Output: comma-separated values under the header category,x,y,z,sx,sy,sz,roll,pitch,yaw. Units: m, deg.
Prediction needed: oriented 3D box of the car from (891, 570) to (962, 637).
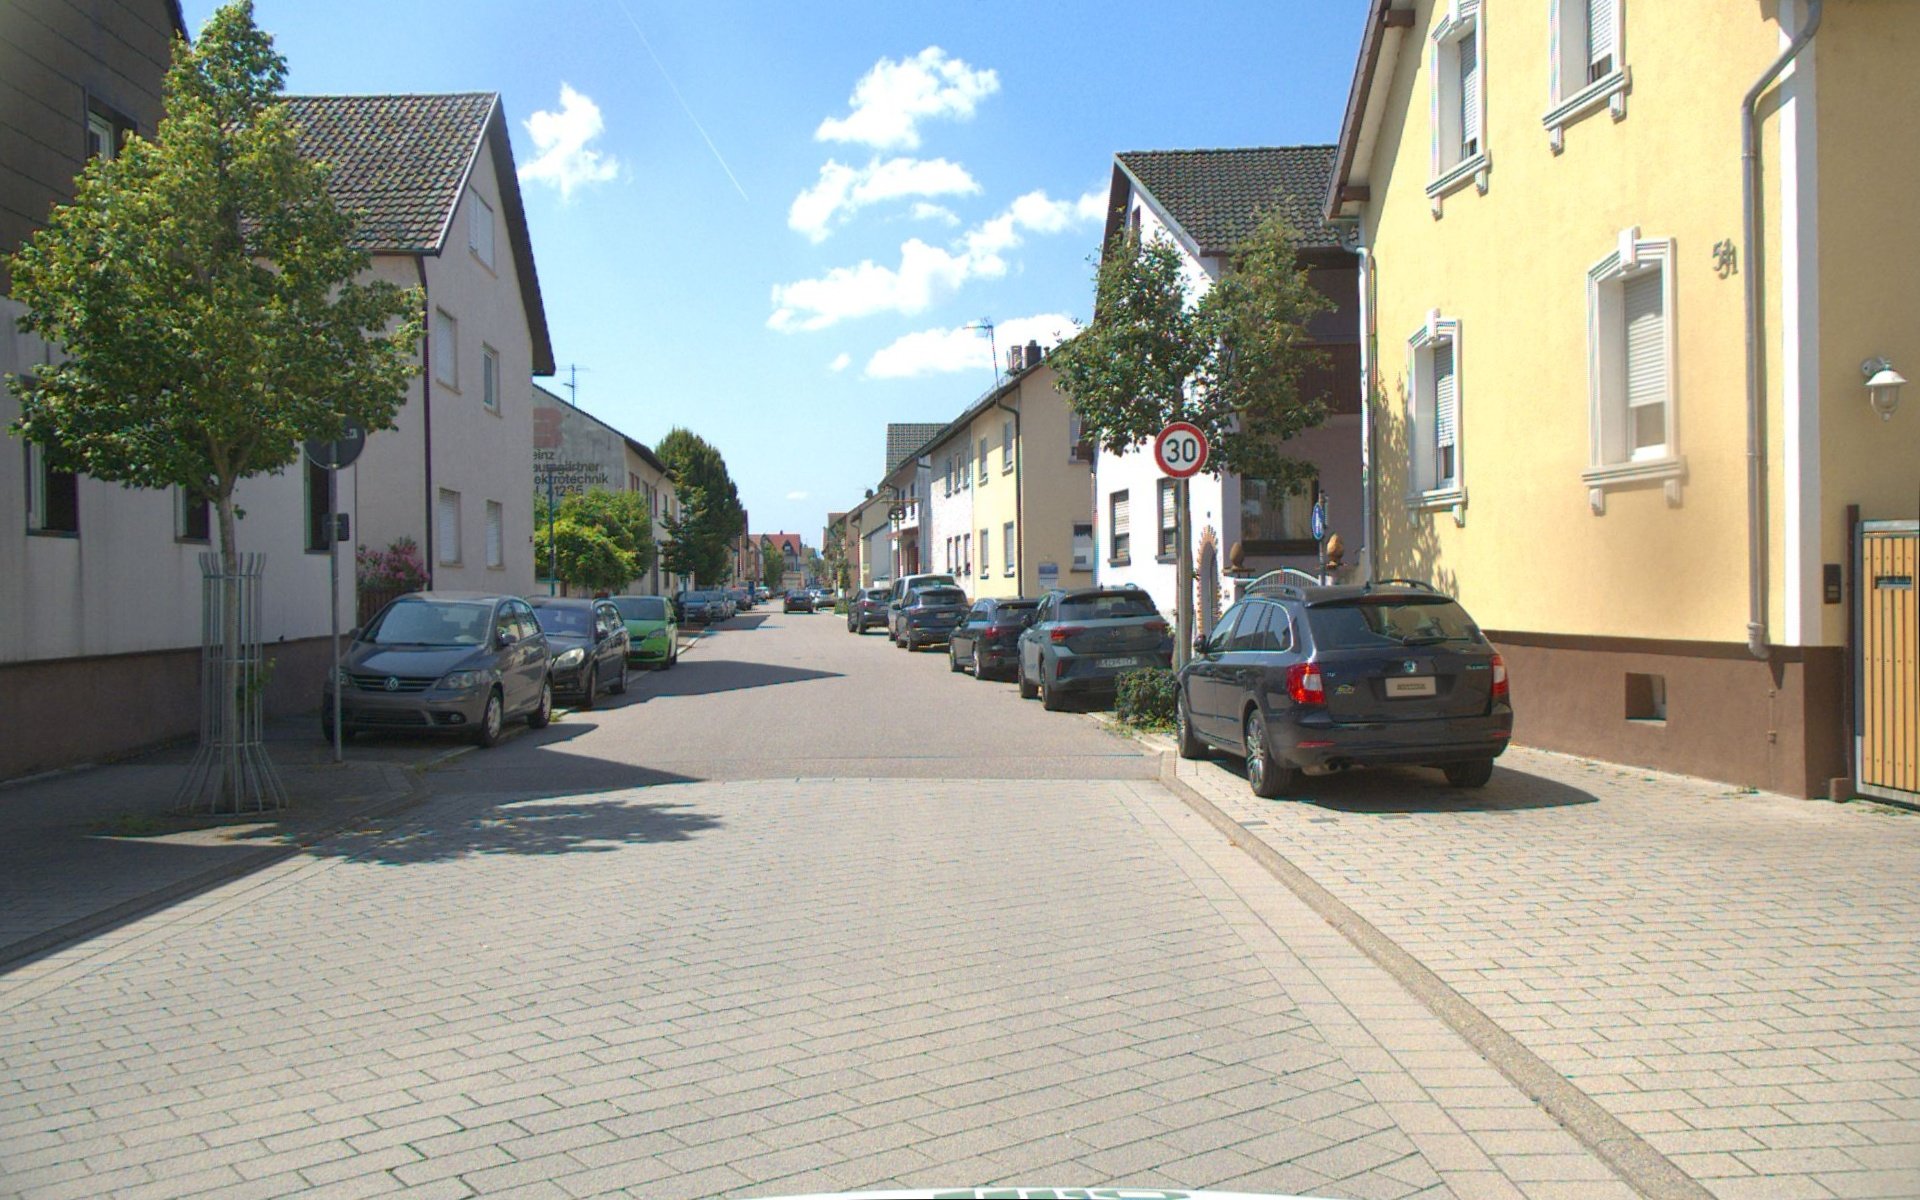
category,x,y,z,sx,sy,sz,roll,pitch,yaw
car,-1.053,0.083,49.560,1.869,1.904,3.997,-1,1,-4

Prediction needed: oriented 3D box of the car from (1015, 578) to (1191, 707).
category,x,y,z,sx,sy,sz,roll,pitch,yaw
car,1.863,0.515,22.666,1.810,1.590,3.690,-1,1,-4

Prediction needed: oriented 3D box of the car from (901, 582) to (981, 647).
category,x,y,z,sx,sy,sz,roll,pitch,yaw
car,-0.559,0.342,43.986,1.840,1.619,3.997,-1,1,-4

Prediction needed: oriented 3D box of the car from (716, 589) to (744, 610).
category,x,y,z,sx,sy,sz,roll,pitch,yaw
car,-17.411,-0.039,125.422,1.879,1.467,3.996,-1,1,-5

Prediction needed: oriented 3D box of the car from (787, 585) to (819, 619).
category,x,y,z,sx,sy,sz,roll,pitch,yaw
car,-10.020,0.127,105.868,1.955,2.093,4.369,-1,1,-5

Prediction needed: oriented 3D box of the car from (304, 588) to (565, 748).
category,x,y,z,sx,sy,sz,roll,pitch,yaw
car,-5.680,0.662,18.388,1.712,1.556,3.999,0,1,-2

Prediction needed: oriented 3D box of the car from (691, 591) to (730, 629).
category,x,y,z,sx,sy,sz,roll,pitch,yaw
car,-12.449,0.477,82.746,1.650,1.789,3.612,-1,1,-5

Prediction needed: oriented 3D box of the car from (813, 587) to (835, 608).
category,x,y,z,sx,sy,sz,roll,pitch,yaw
car,-10.240,-0.211,124.748,1.655,1.478,3.789,-1,1,-4

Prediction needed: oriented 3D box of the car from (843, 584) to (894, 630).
category,x,y,z,sx,sy,sz,roll,pitch,yaw
car,-3.268,0.224,58.592,1.720,1.519,3.997,-1,1,-4

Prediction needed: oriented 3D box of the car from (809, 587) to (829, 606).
category,x,y,z,sx,sy,sz,roll,pitch,yaw
car,-11.764,-0.310,138.171,1.655,1.478,3.789,-1,1,-4

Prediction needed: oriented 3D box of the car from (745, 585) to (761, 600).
category,x,y,z,sx,sy,sz,roll,pitch,yaw
car,-25.272,-0.890,202.253,1.811,1.737,3.716,-1,1,-5

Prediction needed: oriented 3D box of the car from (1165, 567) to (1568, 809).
category,x,y,z,sx,sy,sz,roll,pitch,yaw
car,2.961,0.574,13.063,1.793,1.497,4.272,-3,0,-4

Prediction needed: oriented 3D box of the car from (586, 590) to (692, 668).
category,x,y,z,sx,sy,sz,roll,pitch,yaw
car,-6.719,0.574,34.953,1.758,1.501,3.867,-1,1,-5

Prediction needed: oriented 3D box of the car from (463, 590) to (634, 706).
category,x,y,z,sx,sy,sz,roll,pitch,yaw
car,-6.036,0.645,24.710,1.716,1.559,4.257,0,1,-4

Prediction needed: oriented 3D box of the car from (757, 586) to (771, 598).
category,x,y,z,sx,sy,sz,roll,pitch,yaw
car,-27.639,-1.086,233.517,1.883,1.696,3.996,0,1,-5

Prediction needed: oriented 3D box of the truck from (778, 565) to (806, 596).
category,x,y,z,sx,sy,sz,roll,pitch,yaw
truck,-22.592,-2.572,222.154,3.497,4.022,8.568,-1,1,-7

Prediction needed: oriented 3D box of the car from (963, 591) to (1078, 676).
category,x,y,z,sx,sy,sz,roll,pitch,yaw
car,1.052,0.559,30.254,1.677,1.411,3.702,-1,1,-4

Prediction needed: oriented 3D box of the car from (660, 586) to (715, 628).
category,x,y,z,sx,sy,sz,roll,pitch,yaw
car,-11.513,0.273,70.177,1.955,1.691,3.996,-1,1,-5
